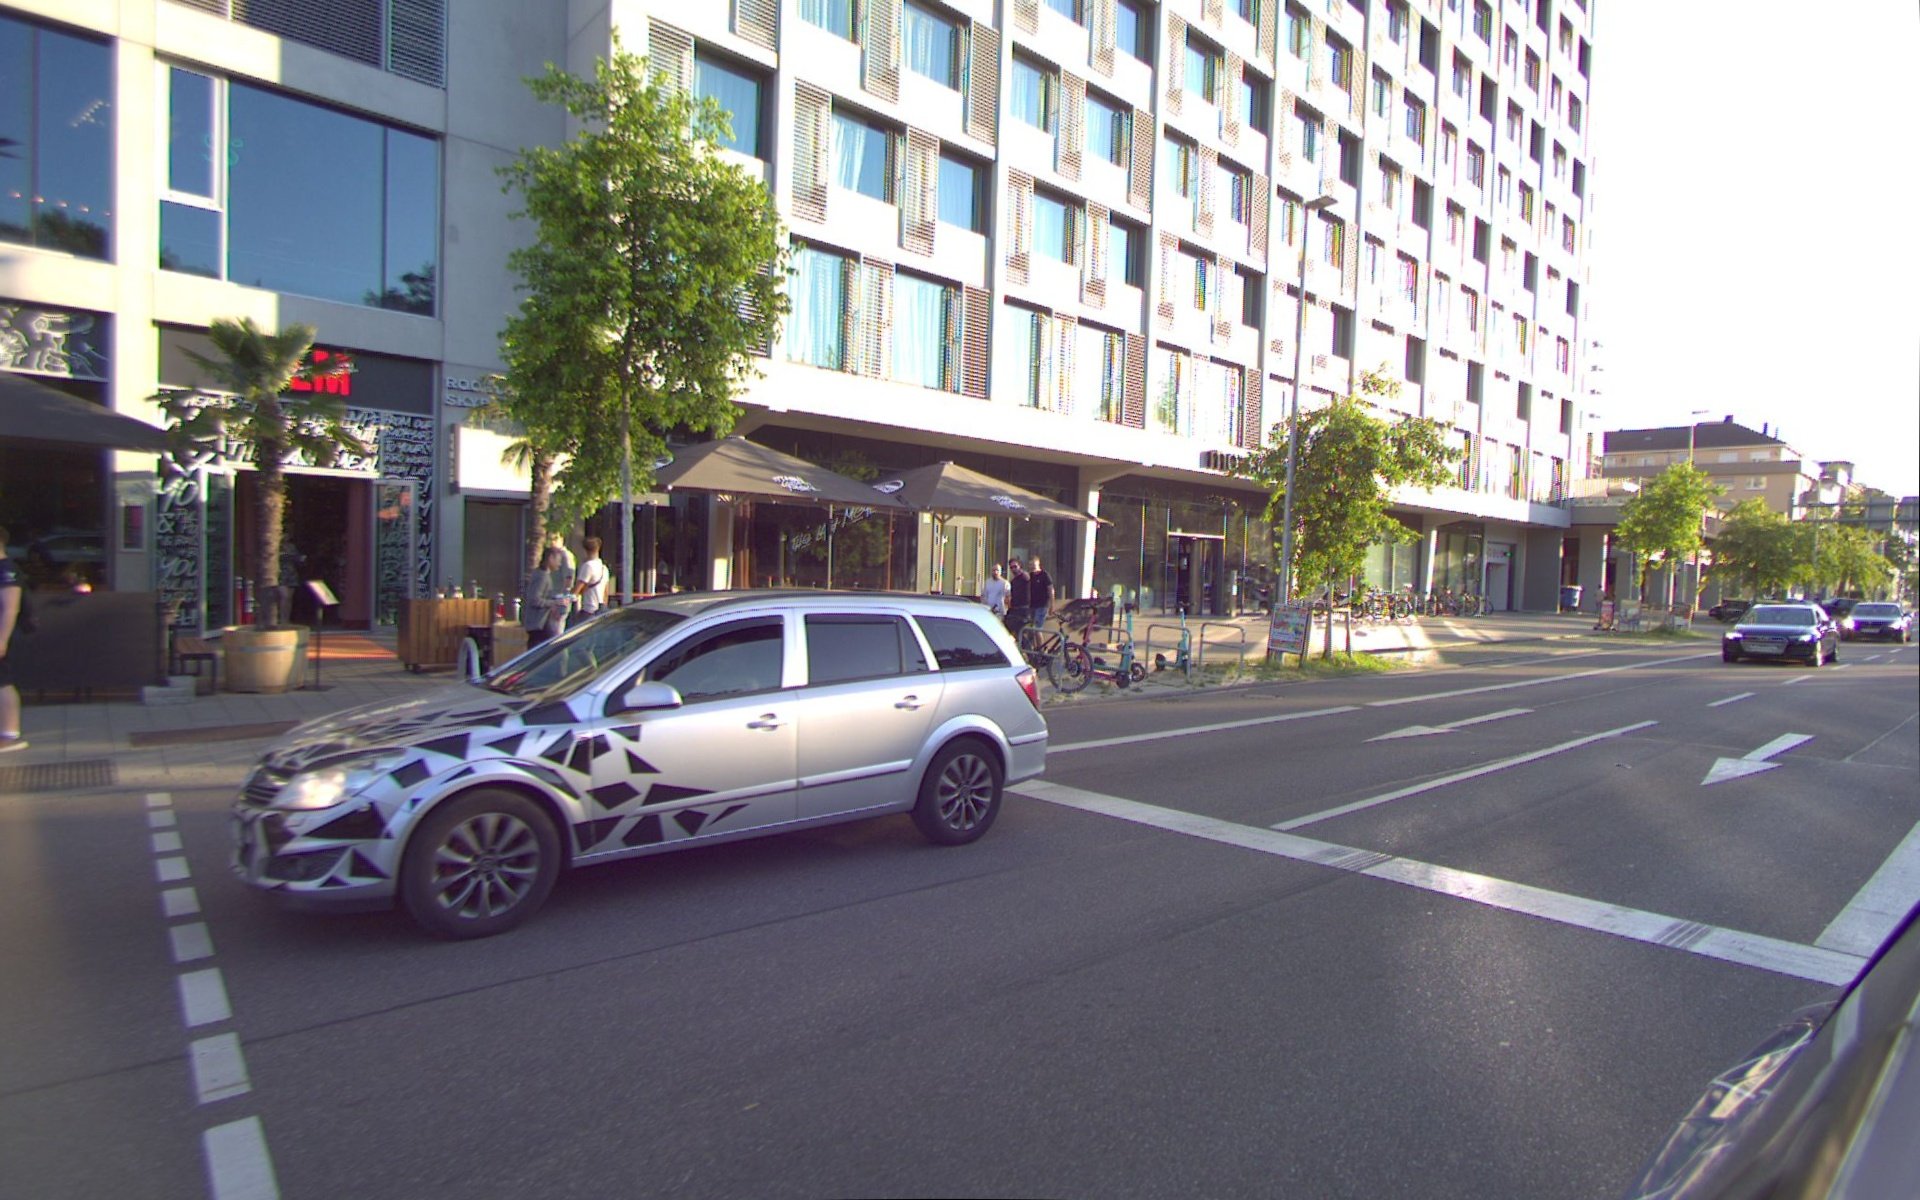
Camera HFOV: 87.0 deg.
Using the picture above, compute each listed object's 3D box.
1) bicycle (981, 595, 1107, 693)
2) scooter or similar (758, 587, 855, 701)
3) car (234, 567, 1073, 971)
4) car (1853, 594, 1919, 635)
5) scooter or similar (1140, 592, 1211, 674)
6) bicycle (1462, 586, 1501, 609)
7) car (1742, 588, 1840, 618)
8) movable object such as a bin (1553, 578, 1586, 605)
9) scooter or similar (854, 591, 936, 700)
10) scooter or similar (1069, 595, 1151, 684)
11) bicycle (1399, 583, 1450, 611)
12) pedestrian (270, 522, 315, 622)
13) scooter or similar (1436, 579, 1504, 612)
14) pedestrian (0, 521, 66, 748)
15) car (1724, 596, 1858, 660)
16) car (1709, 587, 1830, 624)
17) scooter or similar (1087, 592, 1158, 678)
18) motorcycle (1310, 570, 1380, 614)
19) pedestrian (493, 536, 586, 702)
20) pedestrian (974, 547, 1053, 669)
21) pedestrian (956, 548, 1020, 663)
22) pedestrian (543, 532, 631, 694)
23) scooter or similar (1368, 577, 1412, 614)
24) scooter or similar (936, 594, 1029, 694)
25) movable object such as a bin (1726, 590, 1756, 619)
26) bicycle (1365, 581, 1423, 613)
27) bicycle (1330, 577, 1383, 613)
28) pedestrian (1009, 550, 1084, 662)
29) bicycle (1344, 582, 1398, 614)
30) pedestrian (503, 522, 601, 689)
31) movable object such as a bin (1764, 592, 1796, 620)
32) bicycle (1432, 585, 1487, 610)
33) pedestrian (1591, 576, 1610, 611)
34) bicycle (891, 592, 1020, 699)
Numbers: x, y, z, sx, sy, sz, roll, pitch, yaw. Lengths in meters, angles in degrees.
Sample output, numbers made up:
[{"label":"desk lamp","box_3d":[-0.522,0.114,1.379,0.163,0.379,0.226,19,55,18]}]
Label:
[{"label":"bicycle","box_3d":[1.186,0.597,14.673,0.598,1.196,1.850,1,4,-42]},{"label":"scooter or similar","box_3d":[-1.857,0.503,12.198,1.052,1.238,0.589,6,4,44]},{"label":"car","box_3d":[-1.482,0.617,5.791,4.226,1.482,1.832,0,0,-40]},{"label":"car","box_3d":[34.789,0.514,37.932,1.858,1.413,4.209,1,0,44]},{"label":"scooter or similar","box_3d":[3.631,0.533,17.139,0.524,1.232,1.300,2,4,-18]},{"label":"bicycle","box_3d":[22.846,-0.121,44.332,0.449,0.902,1.424,1,2,-42]},{"label":"car","box_3d":[48.436,0.157,59.065,3.927,1.433,1.747,4,4,10]},{"label":"movable object such as a bin","box_3d":[31.970,-0.438,53.056,1.261,1.345,1.107,1,4,-43]},{"label":"scooter or similar","box_3d":[-0.841,0.547,12.795,0.539,1.238,1.066,1,4,-32]},{"label":"scooter or similar","box_3d":[2.266,0.576,15.421,0.501,1.205,1.159,-1,5,-40]},{"label":"bicycle","box_3d":[18.255,-0.125,39.806,0.542,0.998,1.701,1,4,-45]},{"label":"pedestrian","box_3d":[-11.002,-0.457,16.680,0.548,1.621,0.451,1,0,-41]},{"label":"scooter or similar","box_3d":[20.996,-0.183,41.729,0.610,1.197,2.376,1,4,-42]},{"label":"pedestrian","box_3d":[-7.525,0.250,7.989,0.677,1.722,0.655,1,4,-43]},{"label":"car","box_3d":[20.397,0.632,24.792,4.202,1.413,1.913,0,0,-41]},{"label":"car","box_3d":[43.571,0.272,54.568,4.592,1.526,1.936,4,4,9]},{"label":"scooter or similar","box_3d":[2.586,0.535,16.188,0.521,1.228,1.134,0,5,-27]},{"label":"motorcycle","box_3d":[13.480,-0.296,35.478,2.105,1.403,0.664,5,3,34]},{"label":"pedestrian","box_3d":[-4.611,0.181,11.089,0.852,1.724,0.569,4,3,39]},{"label":"pedestrian","box_3d":[0.865,0.114,16.380,0.922,1.870,0.747,1,4,-33]},{"label":"pedestrian","box_3d":[0.469,0.081,16.949,0.762,1.833,0.622,1,5,-33]},{"label":"pedestrian","box_3d":[-4.354,0.129,11.820,0.814,1.807,0.578,-1,4,-39]},{"label":"scooter or similar","box_3d":[15.575,-0.170,36.680,1.268,1.248,0.599,6,4,44]},{"label":"scooter or similar","box_3d":[0.293,0.576,13.841,1.210,1.216,0.472,6,4,44]},{"label":"movable object such as a bin","box_3d":[39.815,0.233,51.588,1.014,1.363,1.143,7,4,43]},{"label":"bicycle","box_3d":[16.294,-0.121,38.026,0.556,1.022,1.888,0,5,-44]},{"label":"bicycle","box_3d":[14.142,-0.182,36.103,1.603,1.168,0.604,6,3,36]},{"label":"pedestrian","box_3d":[1.481,0.091,17.351,0.922,1.846,0.759,1,4,-33]},{"label":"bicycle","box_3d":[14.837,-0.082,36.564,0.542,0.998,1.701,1,4,-45]},{"label":"pedestrian","box_3d":[-4.950,0.032,12.256,0.852,1.911,0.826,-1,5,-43]},{"label":"movable object such as a bin","box_3d":[40.940,0.297,50.518,1.084,1.317,1.341,6,4,41]},{"label":"bicycle","box_3d":[21.470,-0.115,43.531,2.015,0.969,0.611,5,3,42]},{"label":"pedestrian","box_3d":[31.384,-0.313,49.578,0.577,1.638,0.632,6,4,45]},{"label":"bicycle","box_3d":[-0.086,0.565,13.544,1.794,1.208,0.559,6,4,44]}]
